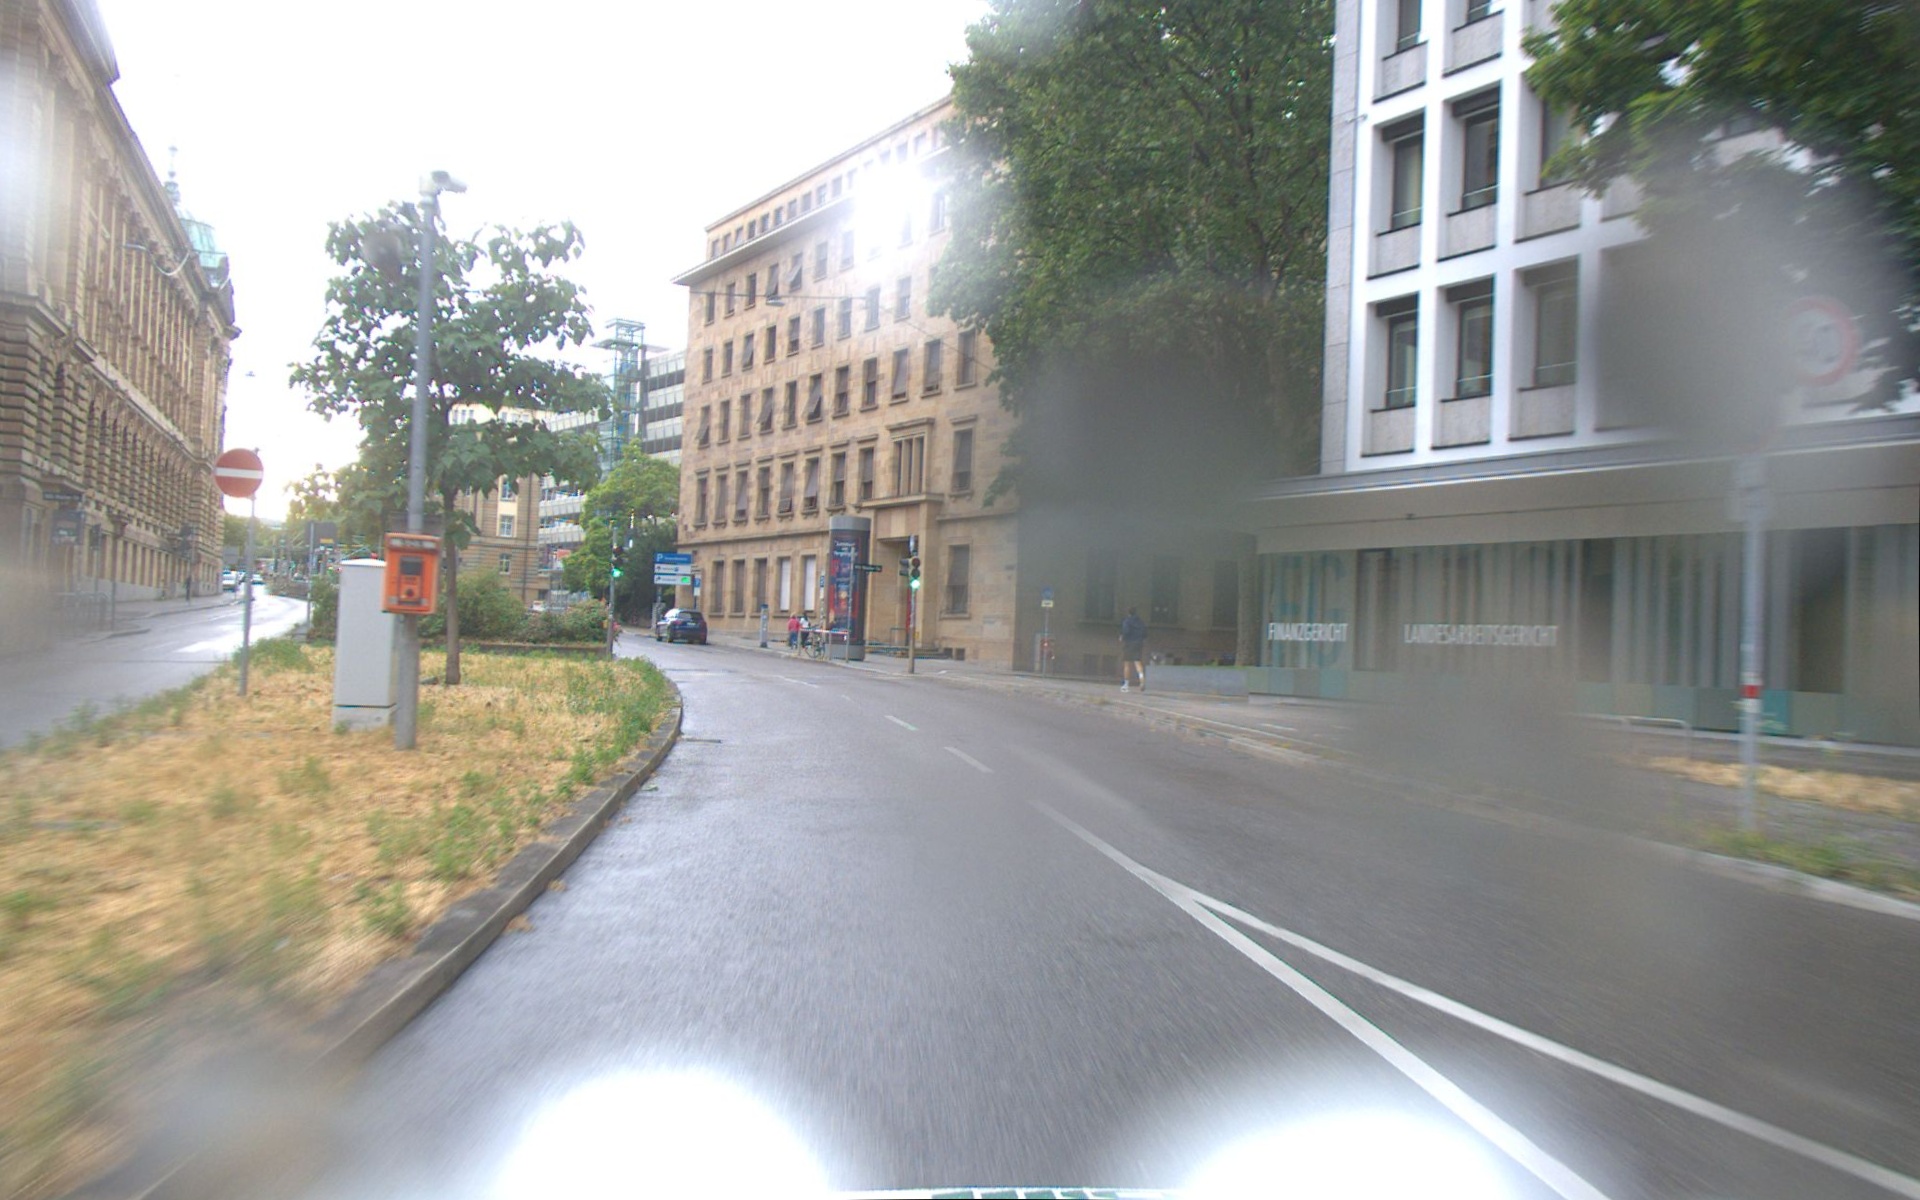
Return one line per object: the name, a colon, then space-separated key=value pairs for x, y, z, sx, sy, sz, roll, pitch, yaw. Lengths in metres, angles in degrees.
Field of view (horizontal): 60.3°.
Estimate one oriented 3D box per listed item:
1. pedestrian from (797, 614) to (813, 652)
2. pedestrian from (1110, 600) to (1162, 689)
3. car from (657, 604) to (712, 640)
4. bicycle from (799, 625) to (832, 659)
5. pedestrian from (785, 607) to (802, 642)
pedestrian: x=-6.881 y=1.462 z=73.437 sx=0.516 sy=1.631 sz=0.671 roll=3 pitch=-1 yaw=-15
pedestrian: x=3.644 y=0.918 z=34.327 sx=0.766 sy=1.803 sz=0.859 roll=3 pitch=-1 yaw=-15
car: x=-13.433 y=1.052 z=80.546 sx=1.743 sy=1.647 sz=4.130 roll=3 pitch=-2 yaw=-22
bicycle: x=-4.763 y=1.377 z=54.363 sx=0.482 sy=1.030 sz=1.915 roll=3 pitch=-1 yaw=-22
pedestrian: x=-7.357 y=1.095 z=73.039 sx=0.516 sy=1.518 sz=0.670 roll=3 pitch=-1 yaw=-19
